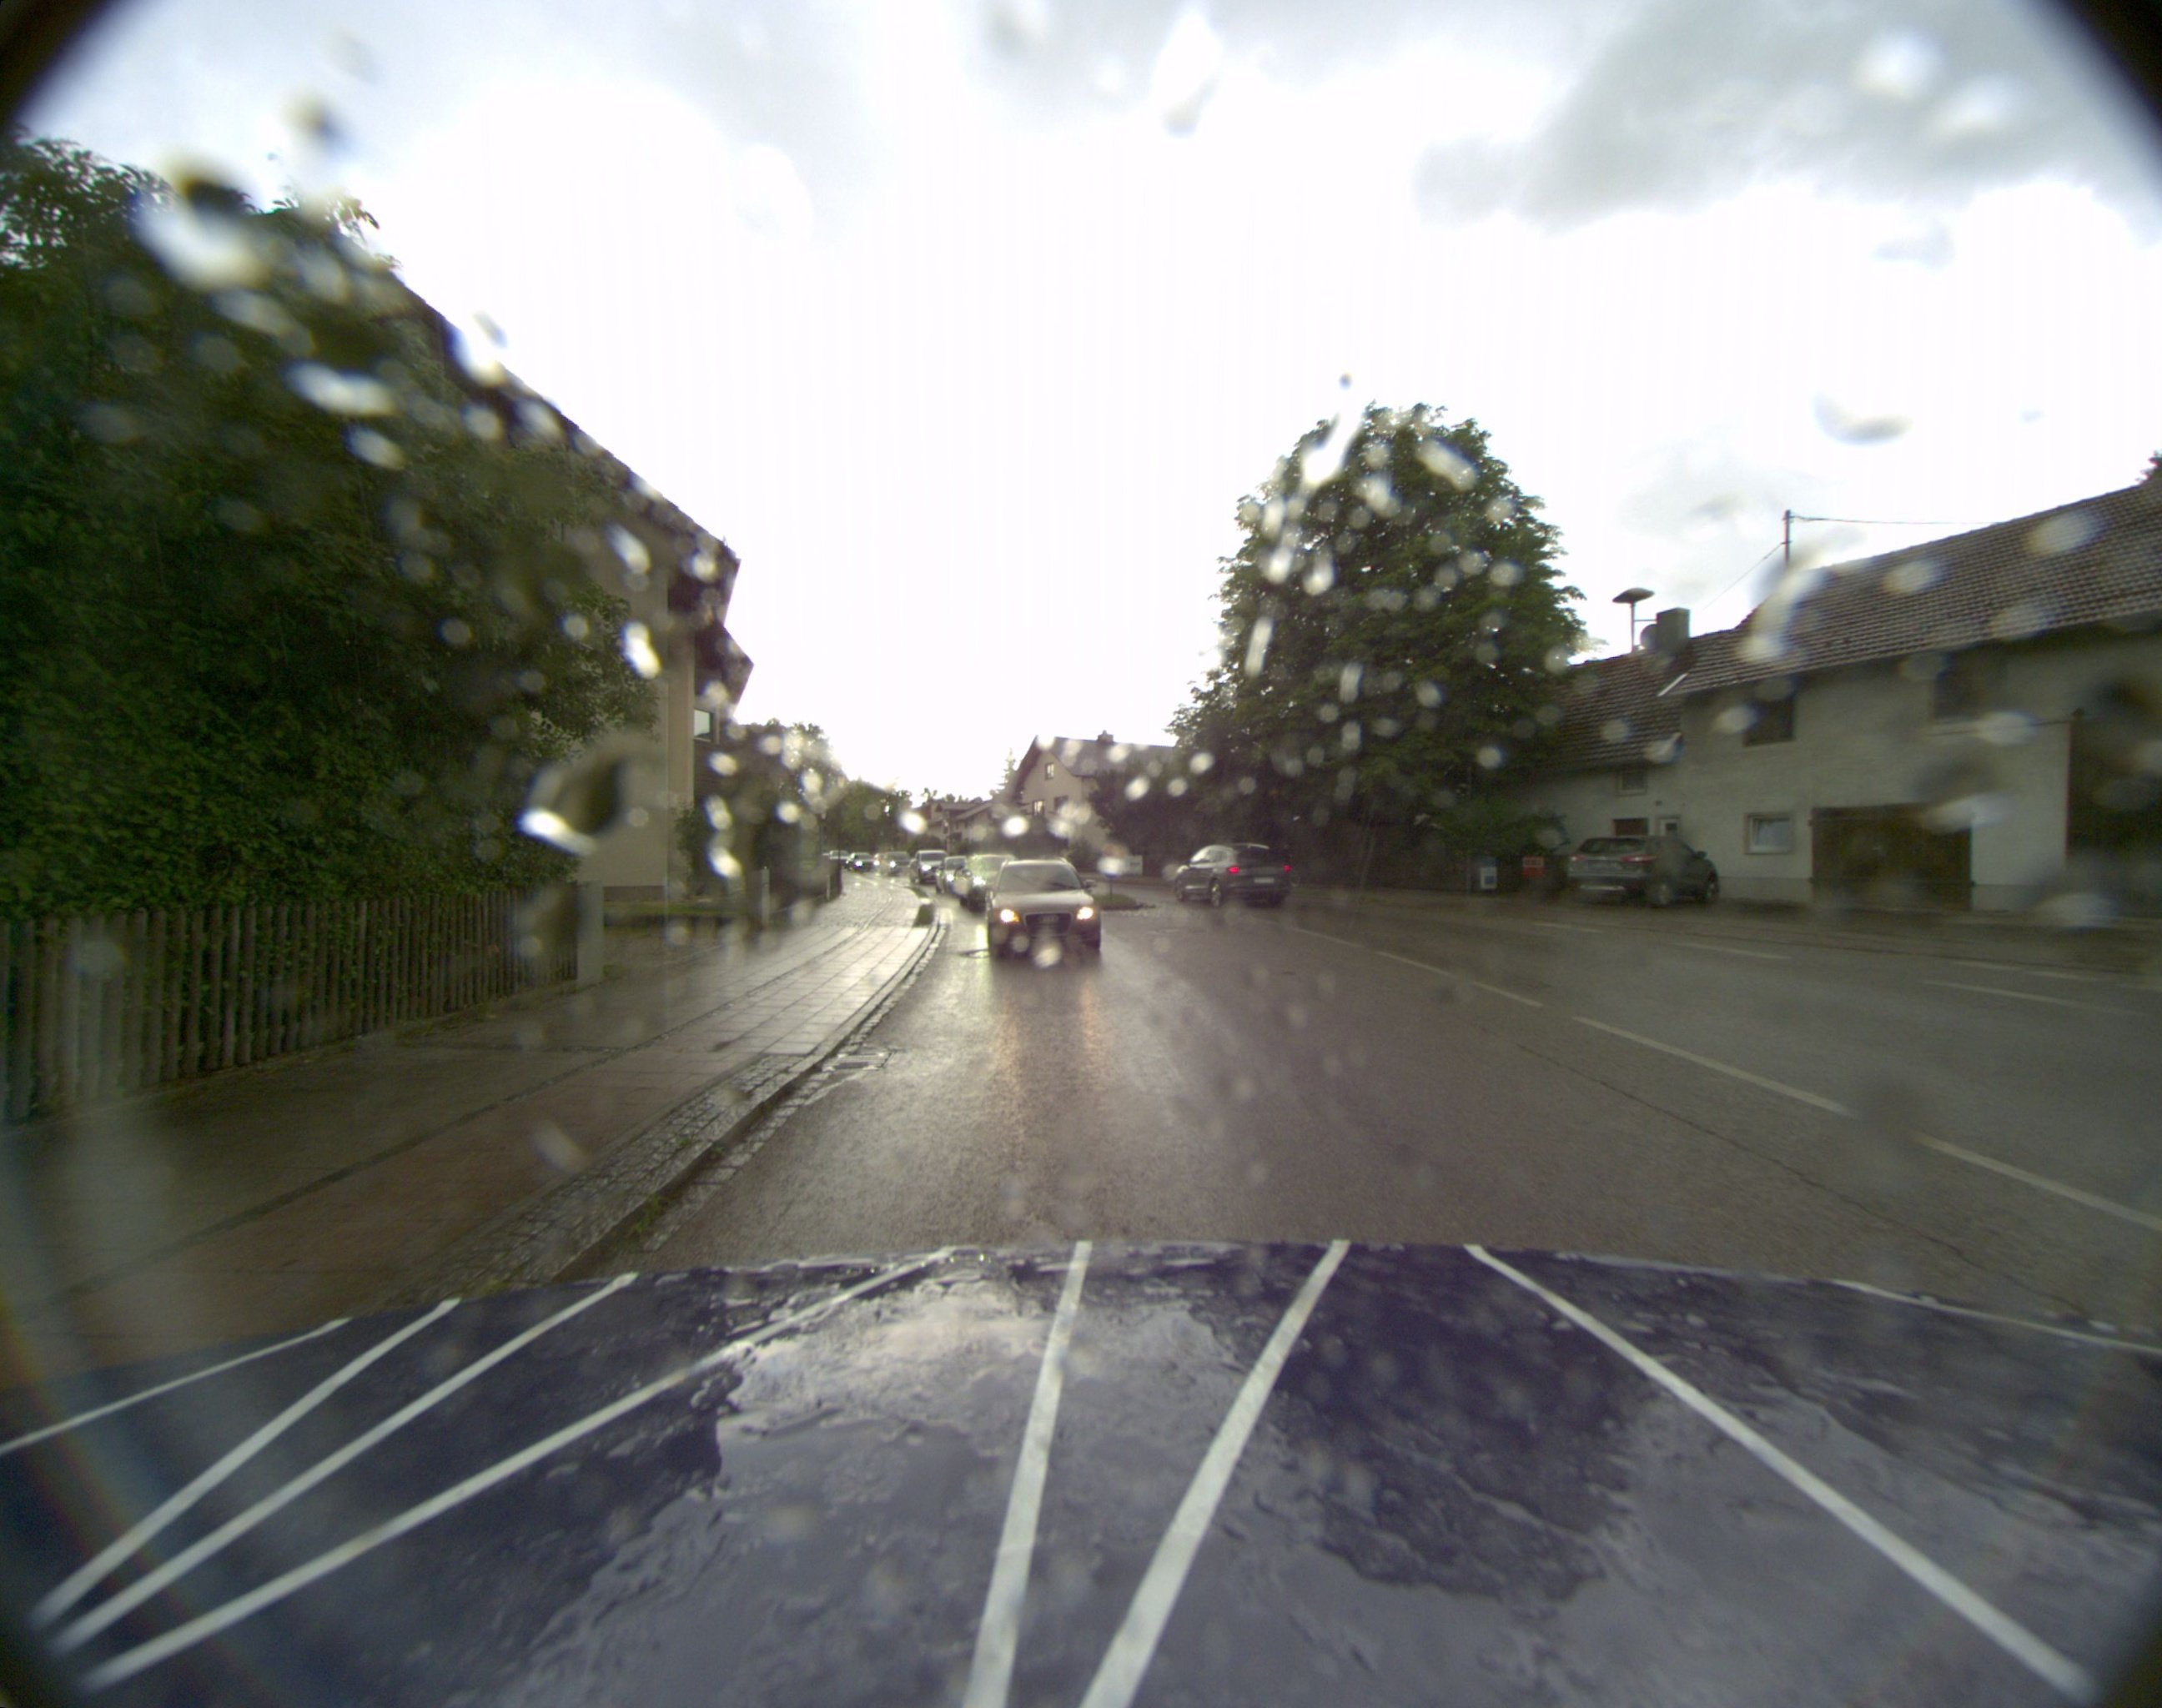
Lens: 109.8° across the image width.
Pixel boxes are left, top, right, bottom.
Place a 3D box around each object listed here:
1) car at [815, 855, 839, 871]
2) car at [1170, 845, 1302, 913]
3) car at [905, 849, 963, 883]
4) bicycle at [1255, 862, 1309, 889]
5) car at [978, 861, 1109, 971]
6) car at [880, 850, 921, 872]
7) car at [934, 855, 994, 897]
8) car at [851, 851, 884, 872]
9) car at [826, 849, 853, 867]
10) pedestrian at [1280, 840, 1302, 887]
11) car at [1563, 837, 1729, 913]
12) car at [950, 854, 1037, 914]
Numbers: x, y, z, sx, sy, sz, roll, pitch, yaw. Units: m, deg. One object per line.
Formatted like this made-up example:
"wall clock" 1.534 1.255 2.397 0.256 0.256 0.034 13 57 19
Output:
"car" -26.931 0.963 80.601 1.797 1.539 4.272 -3 1 -26
"car" 4.076 0.609 20.754 2.000 1.585 4.187 -2 0 -12
"car" -7.424 0.585 38.077 1.797 1.539 4.272 -3 1 -26
"bicycle" 7.283 0.763 27.616 0.665 0.897 1.869 -2 1 -37
"car" -0.809 0.886 12.848 1.795 1.387 4.277 -2 1 -8
"car" -12.249 0.462 51.371 1.797 1.365 4.272 -3 1 -26
"car" -4.578 0.785 29.215 1.796 1.387 4.275 -3 1 -15
"car" -17.538 0.605 62.298 1.797 1.539 4.272 -3 1 -26
"car" -23.027 0.387 72.479 1.797 1.539 4.272 -3 1 -26
"pedestrian" 7.313 0.338 26.412 0.652 1.619 0.480 -1 1 24
"car" 13.029 0.456 17.440 4.289 1.539 1.813 1 0 -35
"car" -2.728 0.788 22.583 1.796 1.470 5.378 -3 1 -15
